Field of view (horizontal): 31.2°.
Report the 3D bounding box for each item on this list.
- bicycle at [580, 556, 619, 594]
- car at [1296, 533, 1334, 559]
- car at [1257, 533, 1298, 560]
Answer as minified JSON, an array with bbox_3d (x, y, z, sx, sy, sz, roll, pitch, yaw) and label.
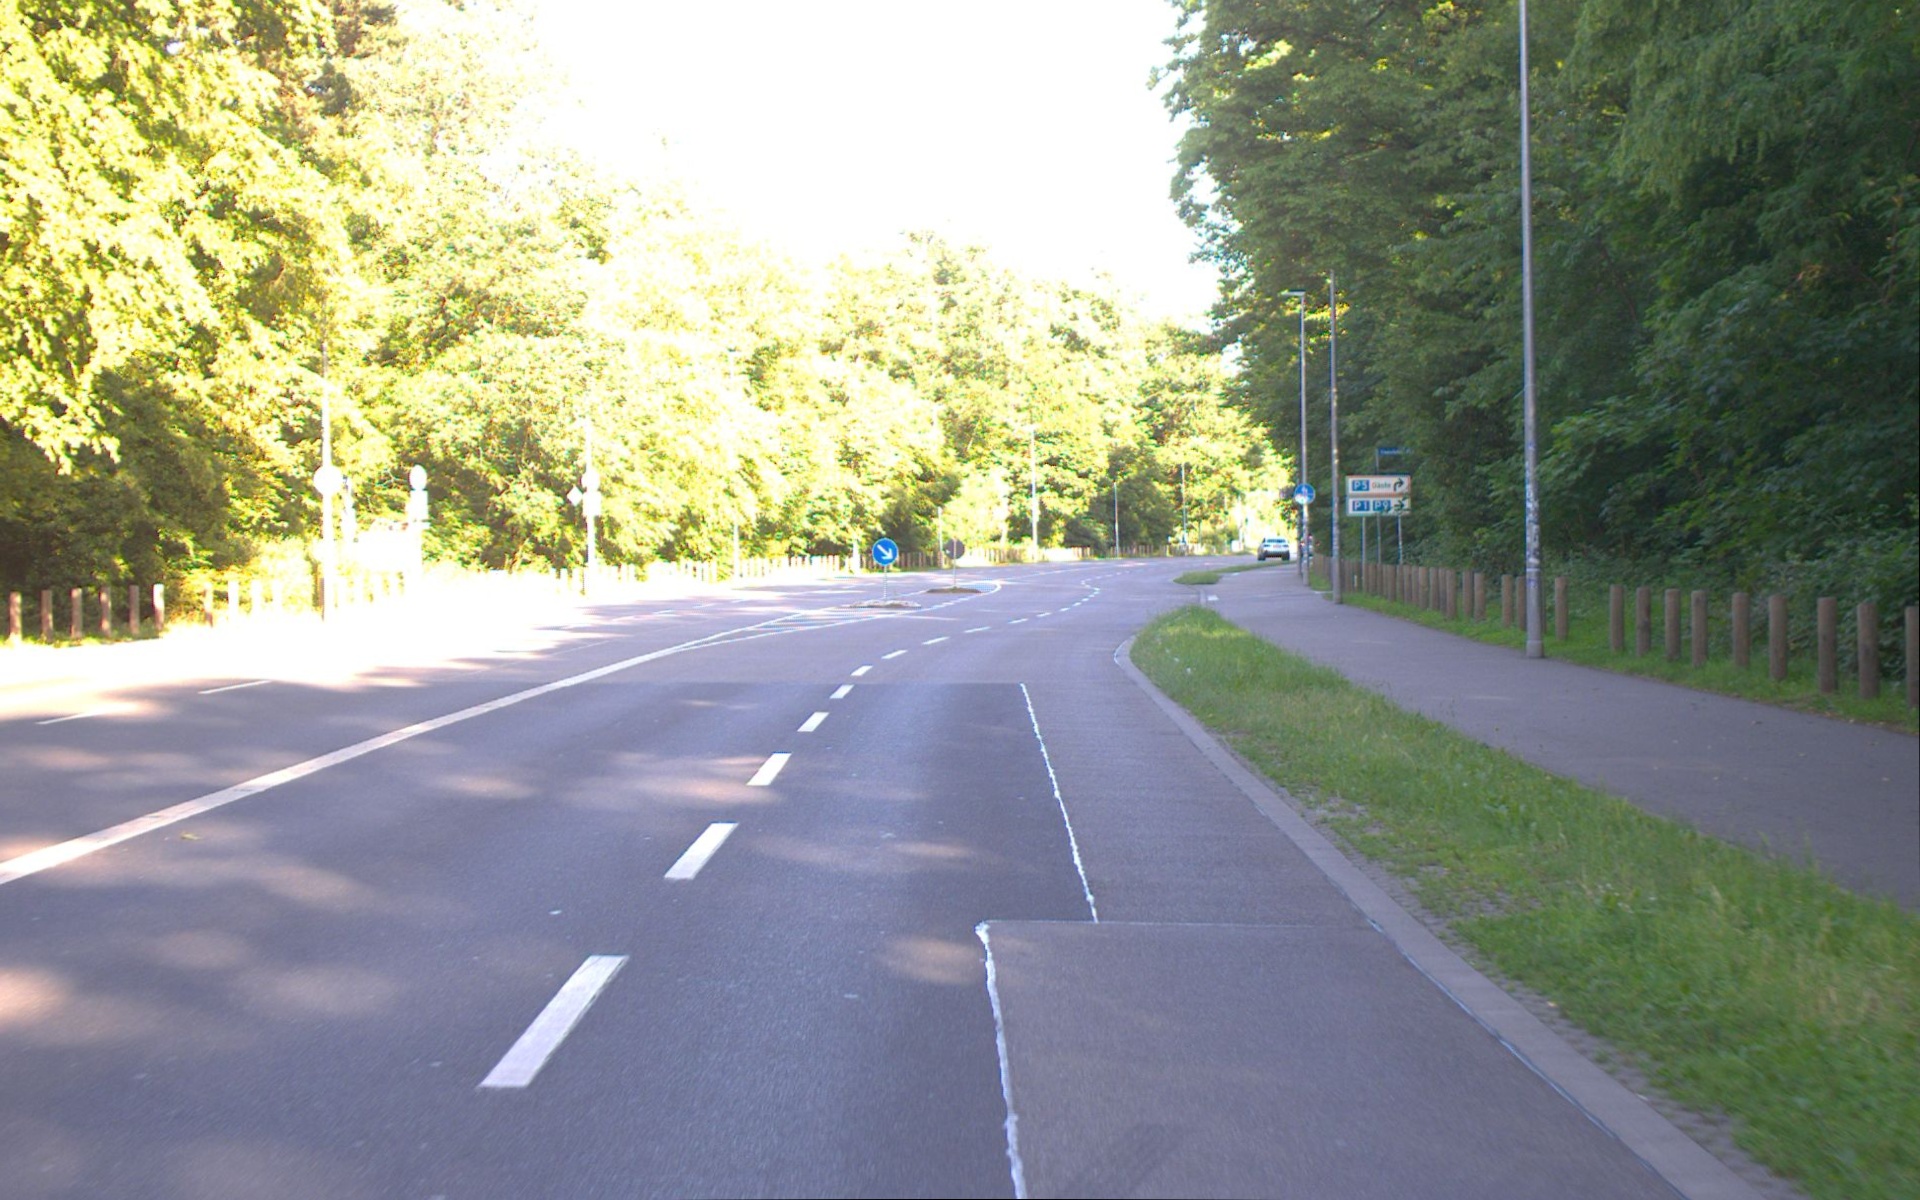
[{"bbox_3d":[-10.932,-0.763,104.298,0.401,1.128,2.218,1,1,14],"label":"bicycle"},{"bbox_3d":[24.428,-3.728,236.501,1.882,1.759,3.997,-1,1,17],"label":"car"},{"bbox_3d":[20.675,-3.495,223.983,1.882,1.703,3.997,-1,1,17],"label":"car"}]
